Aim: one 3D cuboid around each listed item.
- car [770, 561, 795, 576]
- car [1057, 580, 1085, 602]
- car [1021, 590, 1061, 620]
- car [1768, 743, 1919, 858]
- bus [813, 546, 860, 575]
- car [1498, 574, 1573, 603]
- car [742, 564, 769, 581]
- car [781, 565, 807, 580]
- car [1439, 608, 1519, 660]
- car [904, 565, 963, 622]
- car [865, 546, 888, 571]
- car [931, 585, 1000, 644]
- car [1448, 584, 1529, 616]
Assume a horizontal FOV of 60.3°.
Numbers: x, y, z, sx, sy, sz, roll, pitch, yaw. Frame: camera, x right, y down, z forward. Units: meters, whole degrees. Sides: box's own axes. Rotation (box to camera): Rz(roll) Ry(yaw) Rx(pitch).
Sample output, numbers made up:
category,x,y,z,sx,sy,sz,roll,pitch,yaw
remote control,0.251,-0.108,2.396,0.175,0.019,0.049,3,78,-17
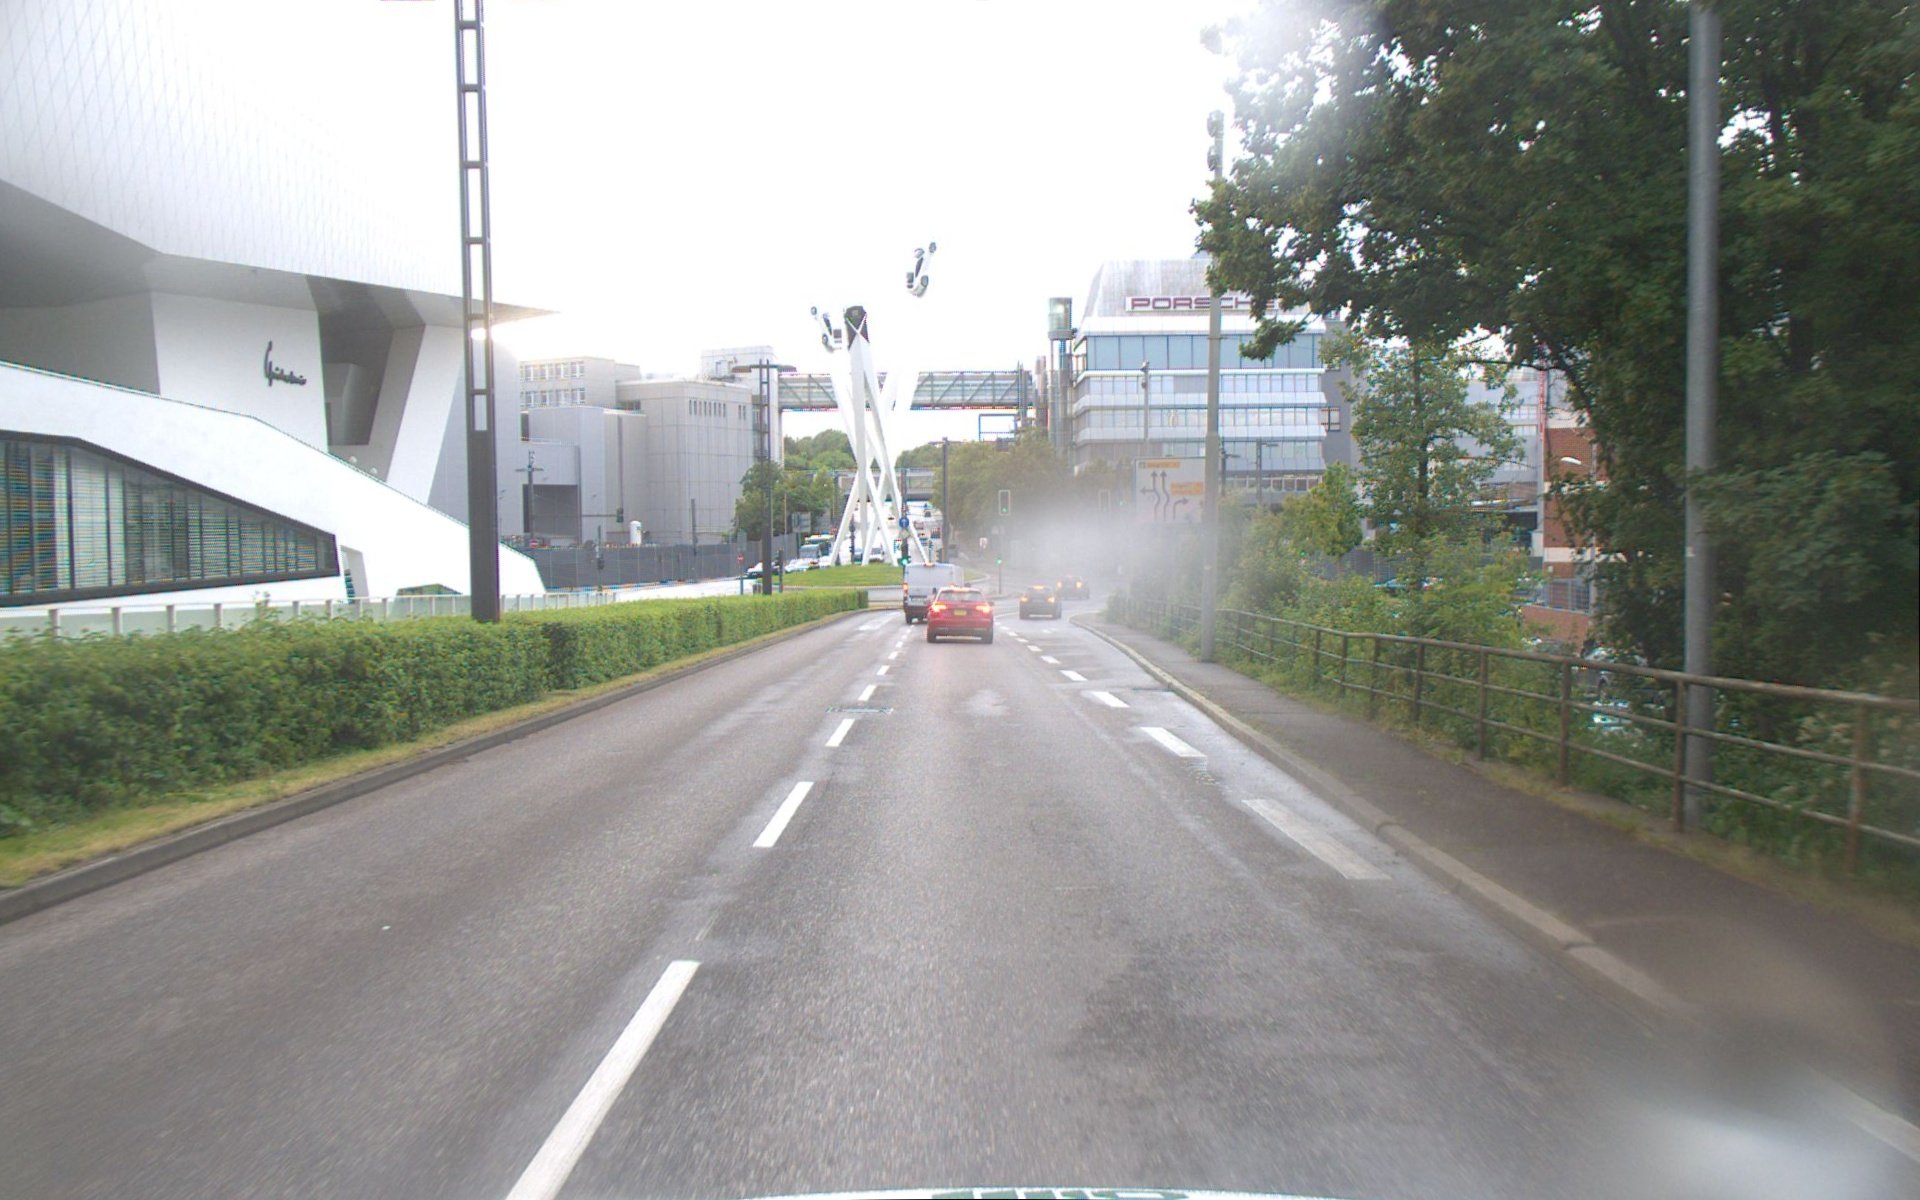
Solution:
category,x,y,z,sx,sy,sz,roll,pitch,yaw
car,-17.046,-3.035,159.039,1.795,1.497,4.515,0,1,1
car,7.057,-0.572,105.264,1.525,1.310,3.413,0,0,-1
car,3.557,0.205,73.234,1.577,1.313,3.566,0,0,-1
car,14.019,3.030,24.287,3.485,1.328,1.549,7,0,-4
bus,-13.949,-4.511,188.177,2.612,3.256,12.681,0,1,8
car,35.264,-0.732,101.368,3.910,1.629,1.900,3,3,42
car,-18.878,-2.579,152.687,1.795,1.497,4.515,0,1,1
car,-15.329,-2.528,152.705,1.807,1.361,4.002,0,1,3
car,20.134,1.296,64.327,1.663,1.637,4.265,1,4,-1
car,-1.052,-0.262,64.675,2.187,2.144,4.953,0,1,-1
car,-8.450,-4.214,168.205,1.952,2.489,5.428,-1,1,1
car,0.114,0.363,43.897,1.736,1.490,3.732,0,0,-1
car,27.552,-0.033,86.339,1.805,1.556,4.136,1,1,-23
